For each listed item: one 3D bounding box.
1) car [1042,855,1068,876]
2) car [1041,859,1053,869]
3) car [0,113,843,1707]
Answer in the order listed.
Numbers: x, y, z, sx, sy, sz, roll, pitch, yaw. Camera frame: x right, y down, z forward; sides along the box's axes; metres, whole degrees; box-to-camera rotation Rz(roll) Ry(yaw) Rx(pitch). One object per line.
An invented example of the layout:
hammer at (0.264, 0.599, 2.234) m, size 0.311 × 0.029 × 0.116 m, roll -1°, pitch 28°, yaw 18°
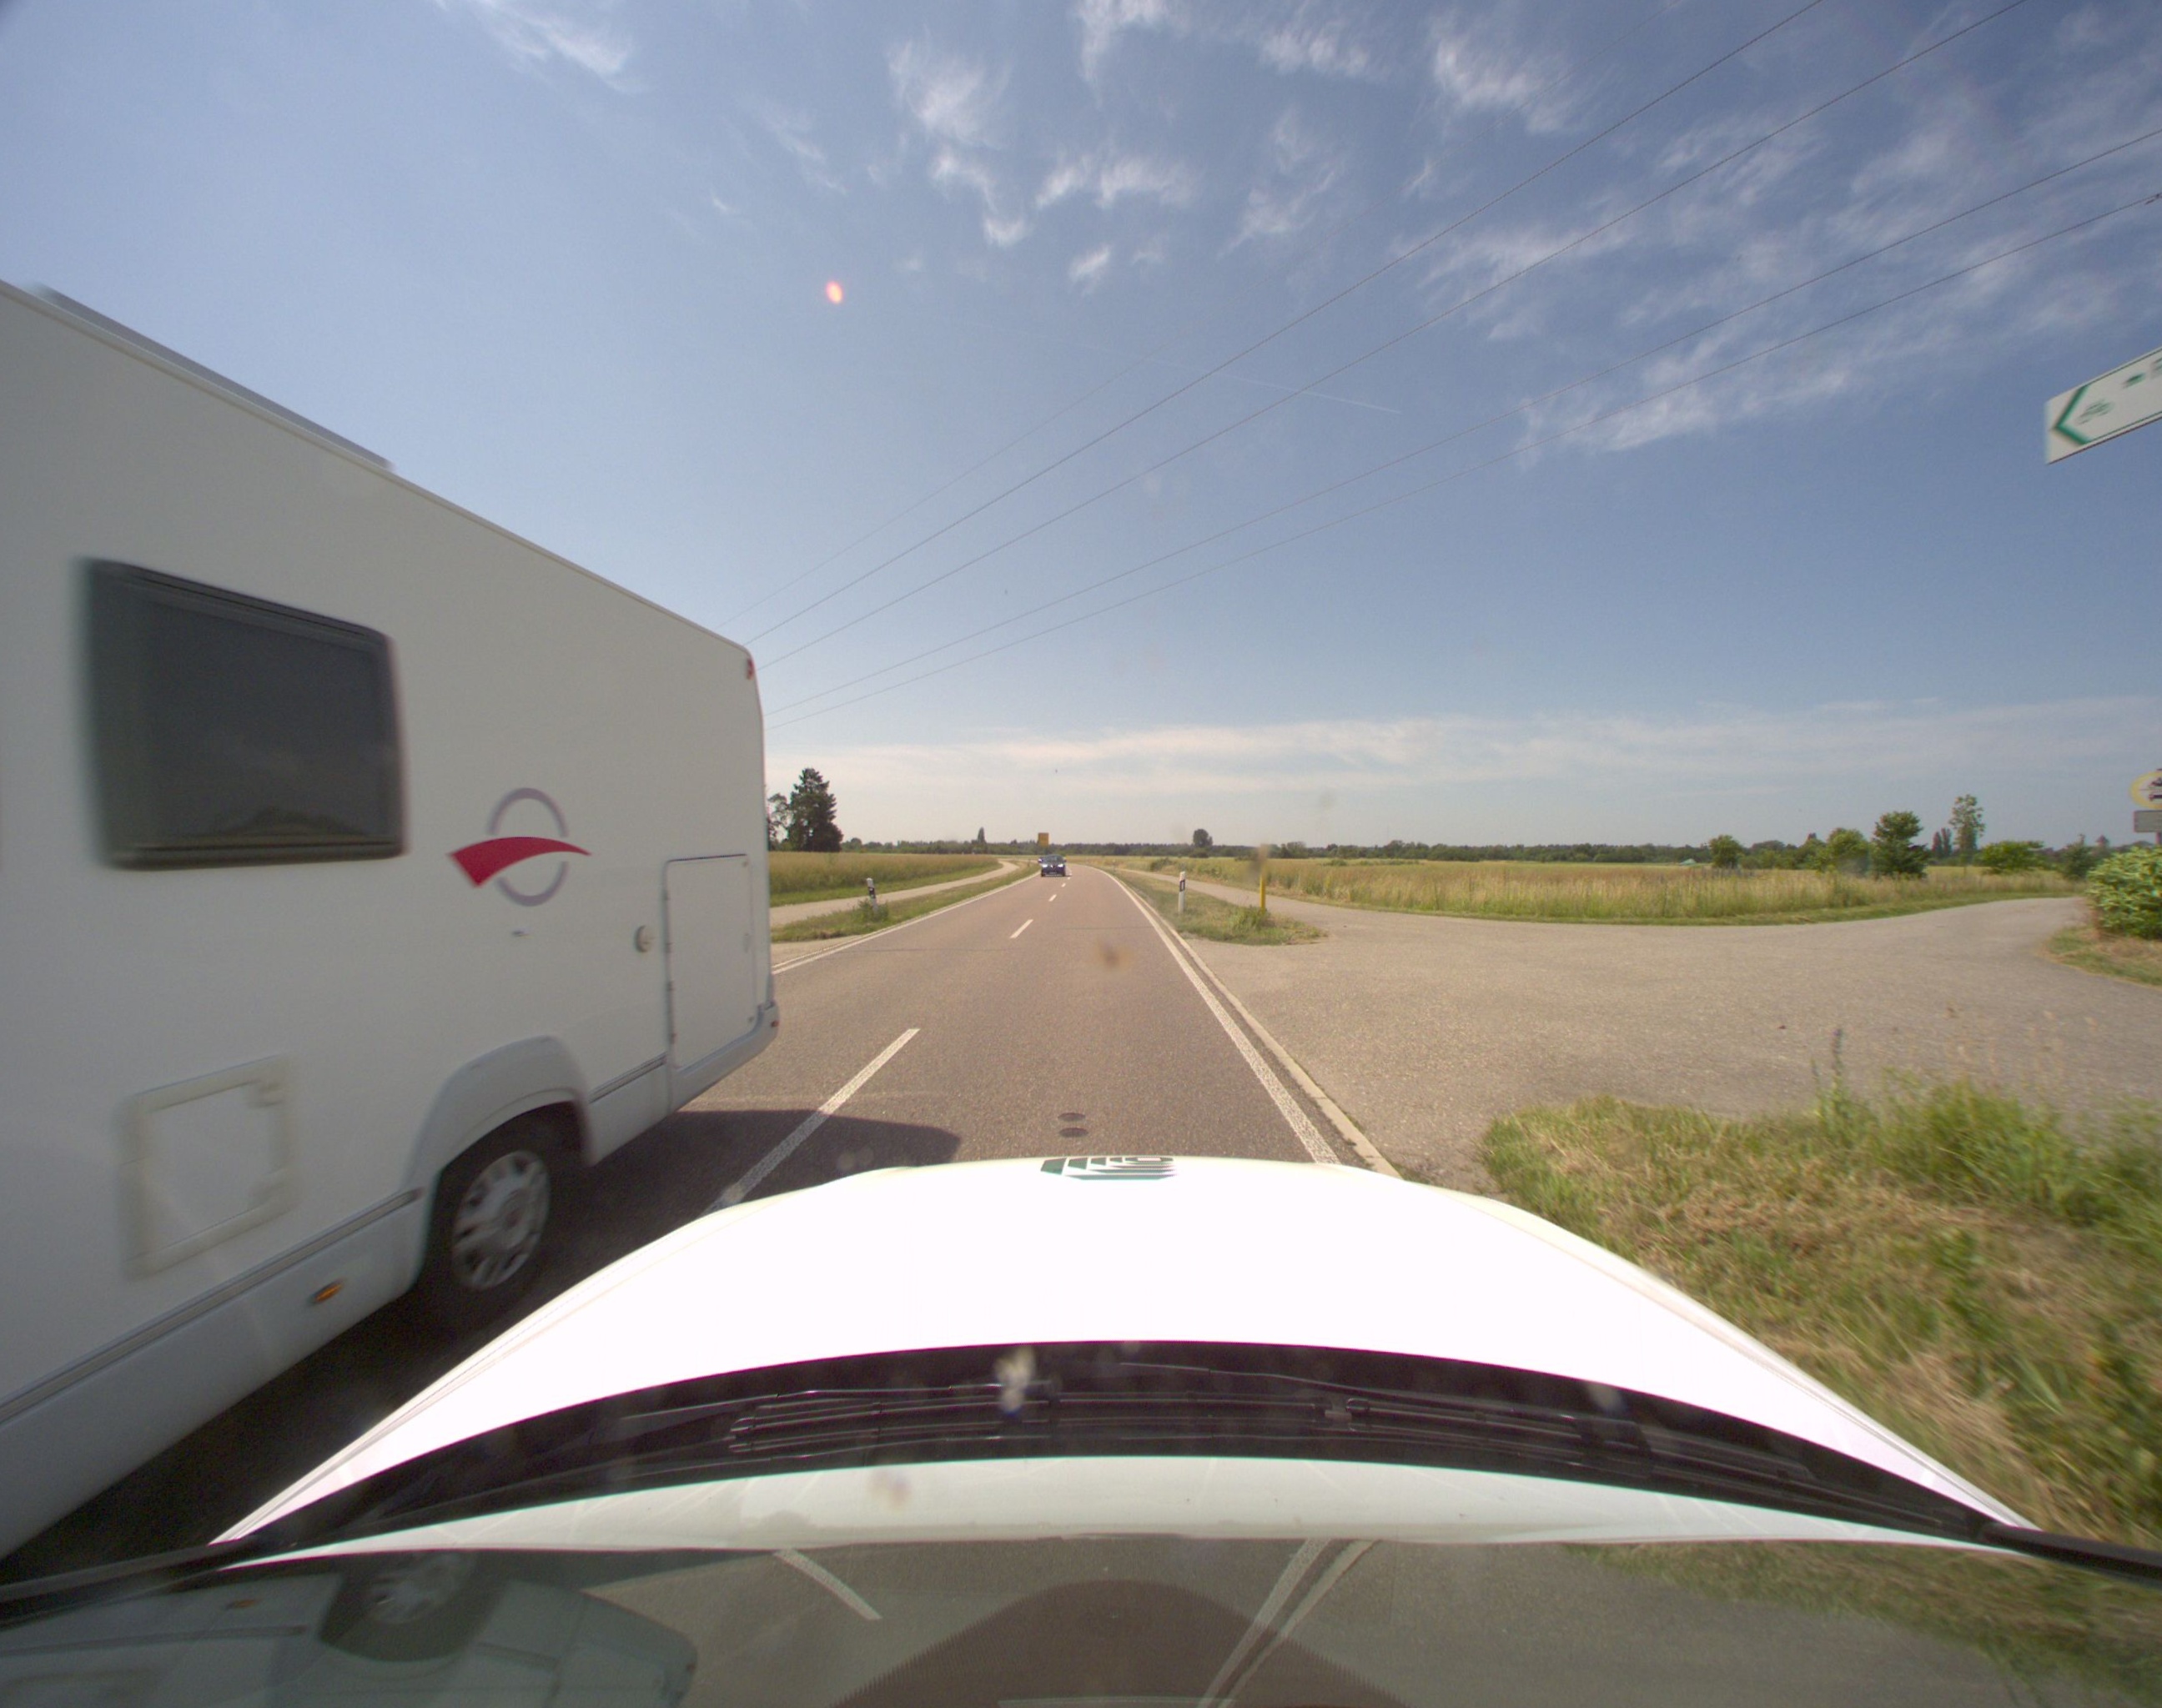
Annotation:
car at (-1.864, 0.834, 58.681) m, size 1.618 × 1.491 × 4.001 m, roll -1°, pitch -1°, yaw 1°
car at (-5.374, 1.560, 128.047) m, size 1.706 × 1.586 × 3.503 m, roll -1°, pitch -1°, yaw 1°
car at (-3.085, 0.113, 2.243) m, size 2.388 × 2.847 × 7.631 m, roll -1°, pitch 0°, yaw 2°
